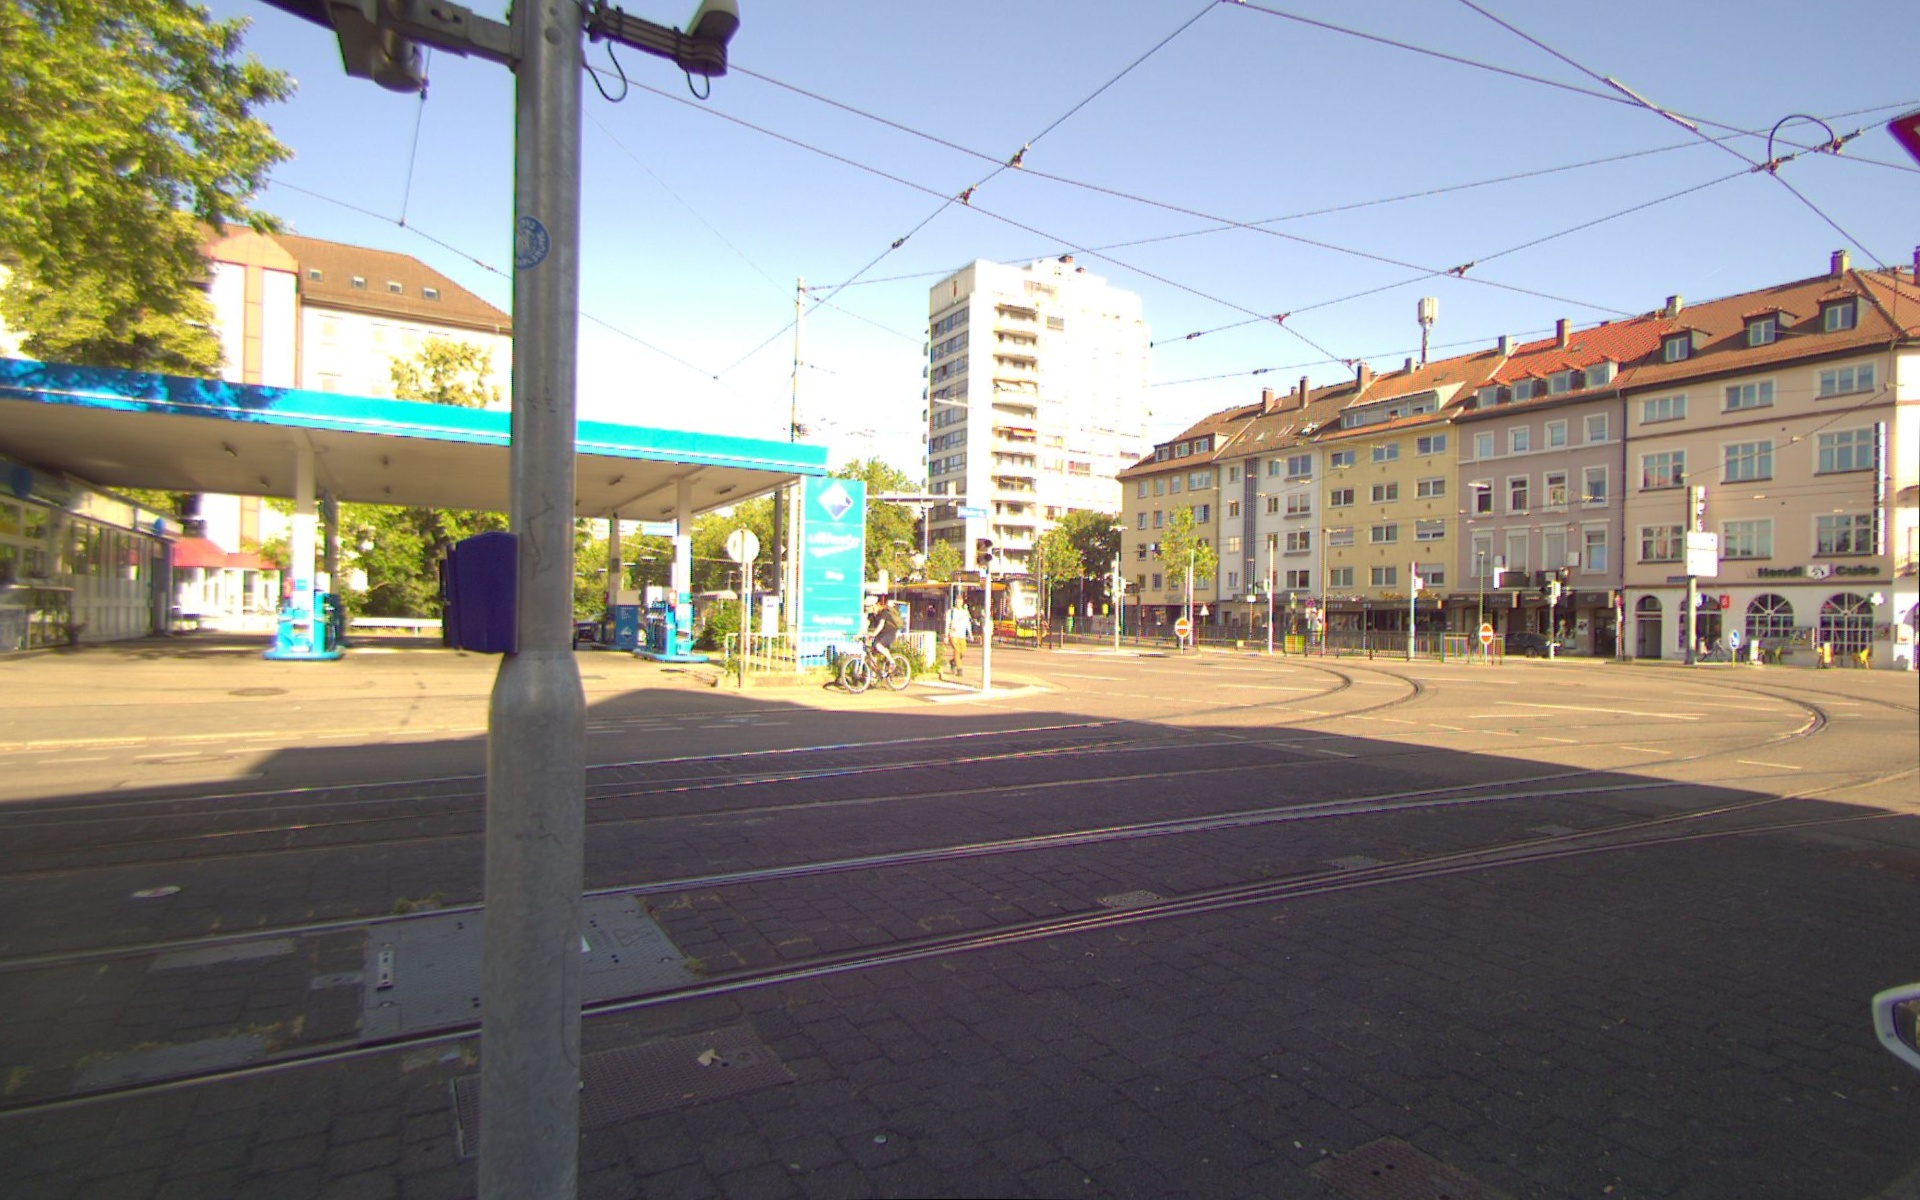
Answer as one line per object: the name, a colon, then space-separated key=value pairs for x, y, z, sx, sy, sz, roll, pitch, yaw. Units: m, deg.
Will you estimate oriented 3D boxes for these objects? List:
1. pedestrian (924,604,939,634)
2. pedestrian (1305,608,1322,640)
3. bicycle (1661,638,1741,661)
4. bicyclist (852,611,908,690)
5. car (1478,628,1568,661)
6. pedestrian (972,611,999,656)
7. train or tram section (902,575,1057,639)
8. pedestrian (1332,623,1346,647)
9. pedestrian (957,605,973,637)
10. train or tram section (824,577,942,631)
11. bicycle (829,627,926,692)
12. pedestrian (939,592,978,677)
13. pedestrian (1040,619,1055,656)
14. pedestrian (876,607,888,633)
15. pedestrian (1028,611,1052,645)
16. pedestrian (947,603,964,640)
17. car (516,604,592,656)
pedestrian: x=-1.597 y=1.067 z=56.140 sx=0.580 sy=1.613 sz=0.520 roll=2 pitch=0 yaw=-31
pedestrian: x=18.468 y=1.275 z=52.467 sx=0.570 sy=1.649 sz=0.522 roll=2 pitch=0 yaw=-31
bicycle: x=37.500 y=2.493 z=50.899 sx=0.989 sy=0.993 sz=3.115 roll=2 pitch=0 yaw=-29
bicyclist: x=-1.439 y=0.898 z=18.110 sx=0.797 sy=1.384 sz=0.553 roll=2 pitch=0 yaw=-44
car: x=30.856 y=2.418 z=55.144 sx=1.970 sy=1.692 sz=3.981 roll=1 pitch=-1 yaw=-21
pedestrian: x=0.929 y=1.217 z=36.820 sx=0.692 sy=1.608 sz=0.822 roll=1 pitch=-1 yaw=27
train or tram section: x=0.745 y=0.337 z=57.542 sx=2.751 sy=3.273 sz=12.286 roll=2 pitch=0 yaw=-31
pedestrian: x=26.296 y=2.421 z=69.712 sx=0.693 sy=1.656 sz=0.629 roll=2 pitch=0 yaw=-33
pedestrian: x=0.270 y=1.064 z=51.441 sx=0.580 sy=1.613 sz=0.520 roll=2 pitch=0 yaw=-31
train or tram section: x=-5.499 y=0.200 z=68.025 sx=2.751 sy=3.273 sz=12.286 roll=2 pitch=0 yaw=-31
bicycle: x=-1.469 y=1.054 z=18.126 sx=1.782 sy=1.084 sz=0.567 roll=2 pitch=0 yaw=-44
pedestrian: x=-0.029 y=0.785 z=23.162 sx=0.778 sy=1.893 sz=0.674 roll=2 pitch=0 yaw=6
pedestrian: x=4.062 y=1.729 z=46.814 sx=0.575 sy=1.686 sz=0.525 roll=2 pitch=0 yaw=15
pedestrian: x=-4.840 y=1.222 z=62.294 sx=0.580 sy=1.613 sz=0.520 roll=2 pitch=0 yaw=-31
pedestrian: x=3.611 y=1.282 z=45.534 sx=0.814 sy=1.532 sz=0.699 roll=1 pitch=-1 yaw=-33
pedestrian: x=-0.233 y=1.151 z=52.760 sx=0.666 sy=1.913 sz=0.520 roll=2 pitch=0 yaw=-31
car: x=-12.210 y=0.862 z=30.123 sx=1.764 sy=1.411 sz=3.455 roll=2 pitch=0 yaw=-28
